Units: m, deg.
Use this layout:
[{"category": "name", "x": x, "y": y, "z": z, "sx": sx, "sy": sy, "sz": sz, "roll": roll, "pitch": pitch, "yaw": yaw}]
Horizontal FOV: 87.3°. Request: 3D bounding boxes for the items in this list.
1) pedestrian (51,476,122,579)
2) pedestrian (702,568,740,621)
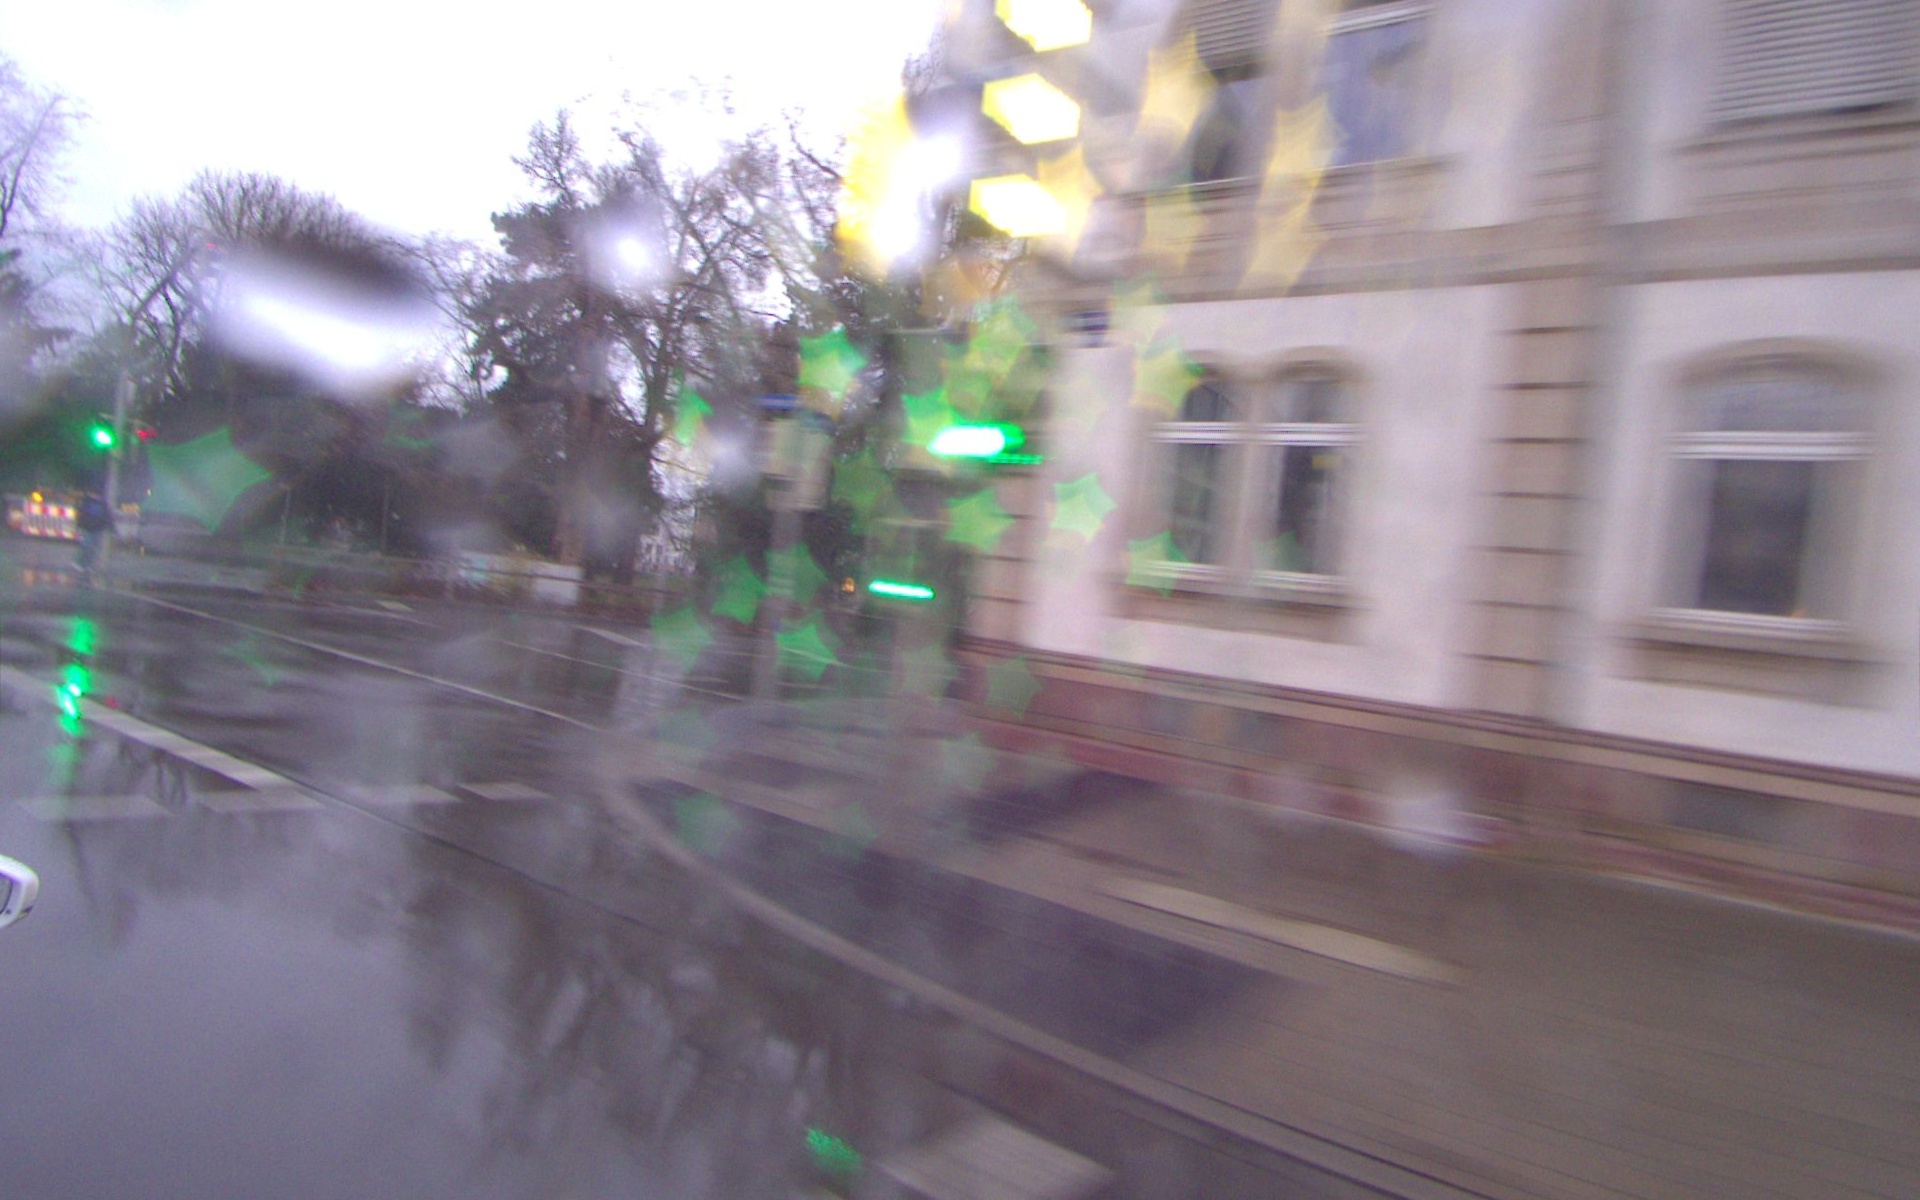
[{"category": "pedestrian", "x": -17.349, "y": -1.433, "z": 19.989, "sx": 0.664, "sy": 1.901, "sz": 0.714, "roll": 7, "pitch": -1, "yaw": 33}, {"category": "pedestrian", "x": -8.277, "y": -0.185, "z": 34.826, "sx": 0.835, "sy": 1.660, "sz": 0.727, "roll": 8, "pitch": -1, "yaw": 11}]
